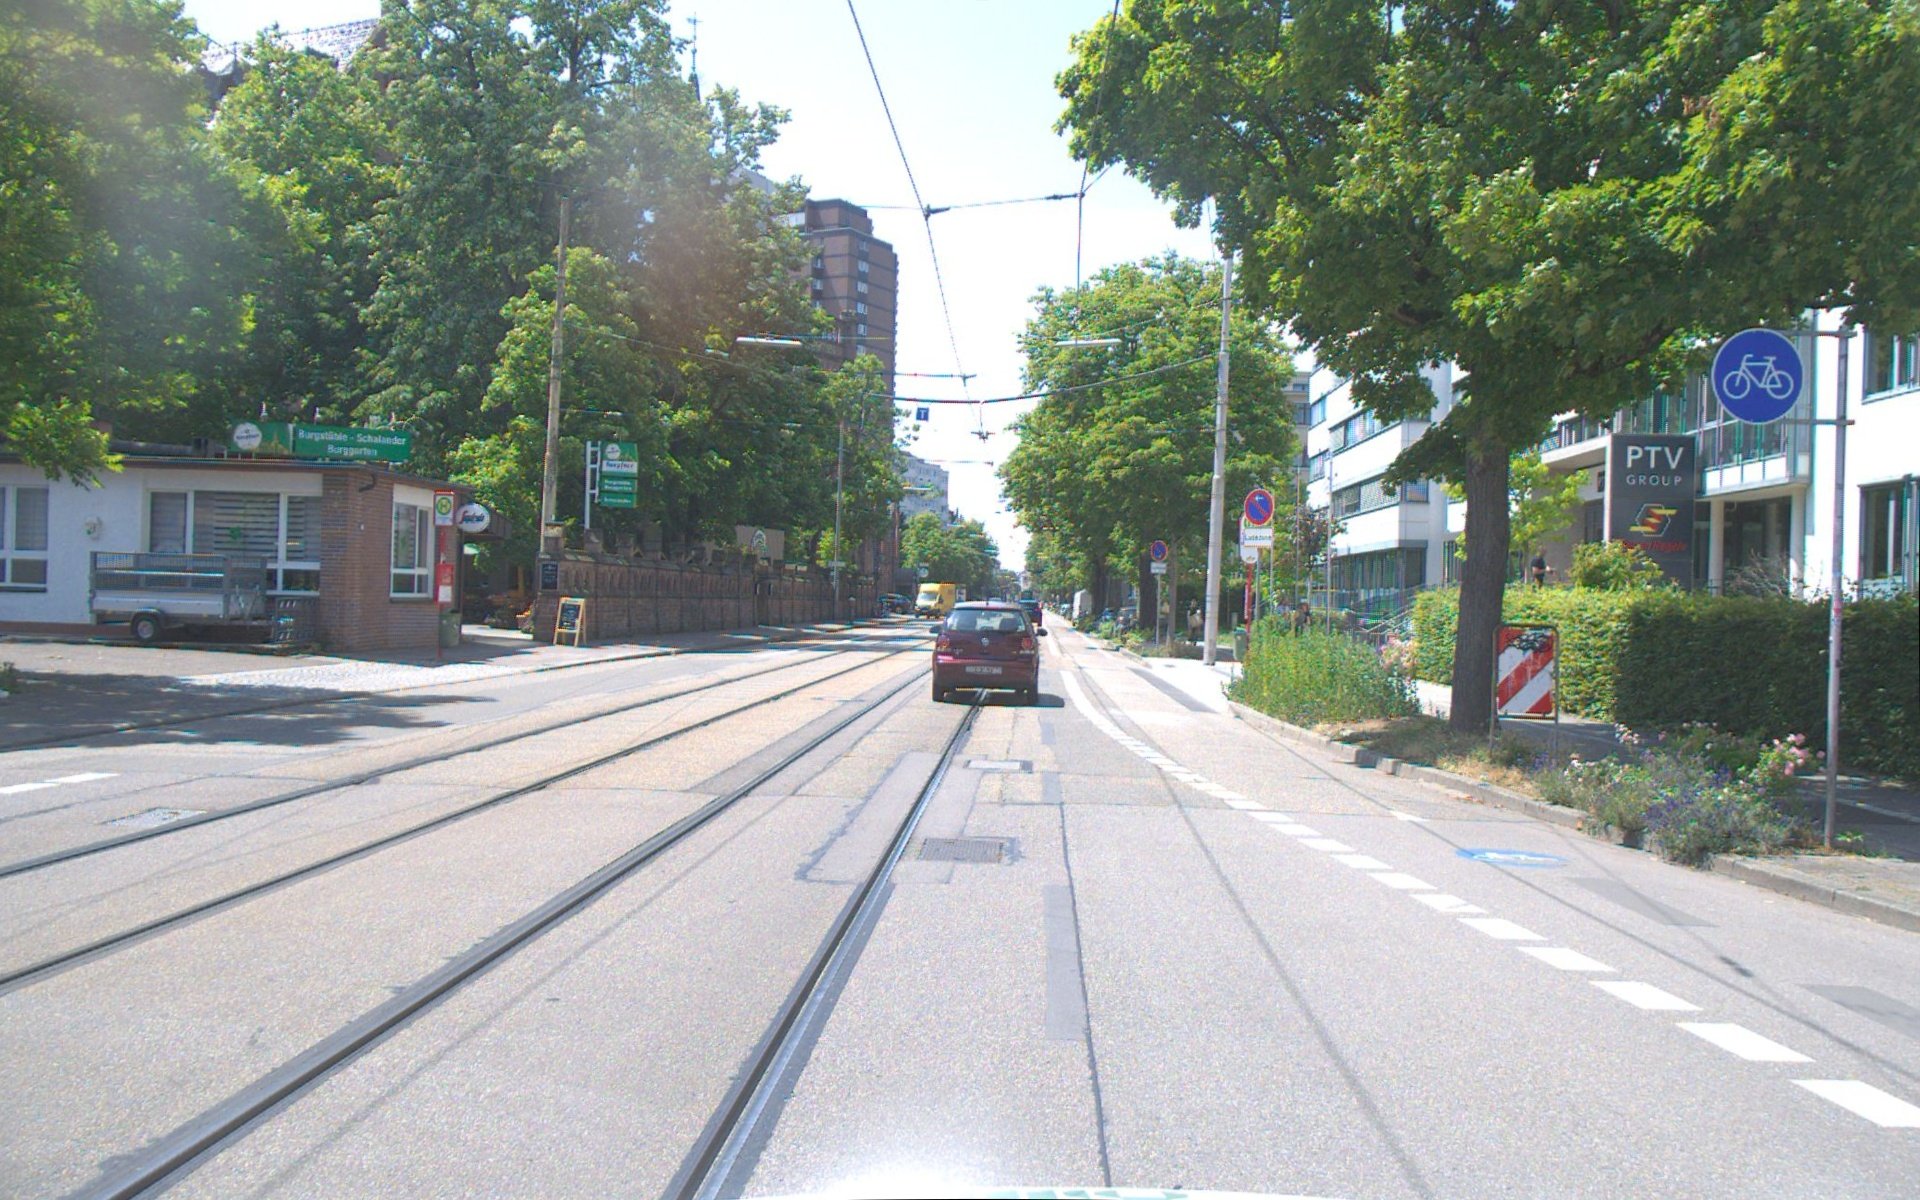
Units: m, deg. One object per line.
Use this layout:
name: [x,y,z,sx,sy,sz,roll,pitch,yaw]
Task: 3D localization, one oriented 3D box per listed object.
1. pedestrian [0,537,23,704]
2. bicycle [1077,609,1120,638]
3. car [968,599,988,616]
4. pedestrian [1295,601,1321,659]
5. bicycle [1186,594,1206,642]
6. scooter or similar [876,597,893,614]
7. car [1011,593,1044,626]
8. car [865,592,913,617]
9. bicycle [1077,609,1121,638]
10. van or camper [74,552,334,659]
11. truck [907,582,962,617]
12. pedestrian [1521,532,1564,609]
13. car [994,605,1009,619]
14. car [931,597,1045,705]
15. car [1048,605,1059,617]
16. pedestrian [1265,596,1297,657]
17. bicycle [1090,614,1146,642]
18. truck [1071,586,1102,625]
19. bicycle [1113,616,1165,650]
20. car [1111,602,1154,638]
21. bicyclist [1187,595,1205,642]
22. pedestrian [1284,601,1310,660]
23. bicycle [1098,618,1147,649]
pedestrian: [-10.649,0.209,17.869,0.568,1.806,0.699,3,0,-1]
bicycle: [5.605,0.945,66.957,1.714,1.104,0.549,2,0,2]
car: [1.688,0.699,153.975,1.734,1.542,4.001,2,0,3]
pedestrian: [10.444,0.903,49.641,0.530,1.745,0.561,1,-1,-27]
bicycle: [9.179,0.704,64.403,0.675,1.817,1.812,0,-1,6]
scooter or similar: [-5.440,0.388,119.157,1.072,1.175,0.524,3,0,-19]
car: [4.391,0.596,108.803,1.953,2.048,4.000,3,0,0]
car: [-6.296,0.372,146.049,3.902,2.049,2.001,2,0,7]
bicycle: [5.559,0.947,66.358,1.714,1.104,0.549,2,0,2]
van or camper: [-13.443,0.076,29.558,3.706,1.657,1.872,3,1,2]
truck: [-2.127,-0.031,139.533,2.320,2.836,7.322,1,0,18]
pedestrian: [13.418,-0.669,38.148,0.855,1.745,1.090,0,-1,15]
car: [5.562,1.612,221.563,1.952,1.887,4.683,2,0,2]
car: [0.504,0.732,25.780,1.585,1.512,4.001,2,0,3]
car: [14.642,1.698,258.620,1.640,1.685,4.001,3,0,2]
pedestrian: [9.712,0.808,50.037,0.670,1.828,0.668,0,-1,-29]
bicycle: [8.724,1.538,91.387,3.007,1.336,0.782,3,0,1]
truck: [9.293,0.421,121.906,1.952,2.708,4.876,3,0,2]
bicycle: [6.517,1.206,60.207,1.844,1.203,0.694,1,-1,2]
car: [7.518,0.863,72.297,1.653,1.529,3.628,0,0,2]
bicyclist: [9.186,0.711,64.397,0.682,1.831,0.888,0,-1,6]
pedestrian: [10.038,0.906,49.217,0.530,1.745,0.561,1,-1,-27]
bicycle: [6.015,1.254,61.205,1.786,1.104,0.719,1,-1,6]
